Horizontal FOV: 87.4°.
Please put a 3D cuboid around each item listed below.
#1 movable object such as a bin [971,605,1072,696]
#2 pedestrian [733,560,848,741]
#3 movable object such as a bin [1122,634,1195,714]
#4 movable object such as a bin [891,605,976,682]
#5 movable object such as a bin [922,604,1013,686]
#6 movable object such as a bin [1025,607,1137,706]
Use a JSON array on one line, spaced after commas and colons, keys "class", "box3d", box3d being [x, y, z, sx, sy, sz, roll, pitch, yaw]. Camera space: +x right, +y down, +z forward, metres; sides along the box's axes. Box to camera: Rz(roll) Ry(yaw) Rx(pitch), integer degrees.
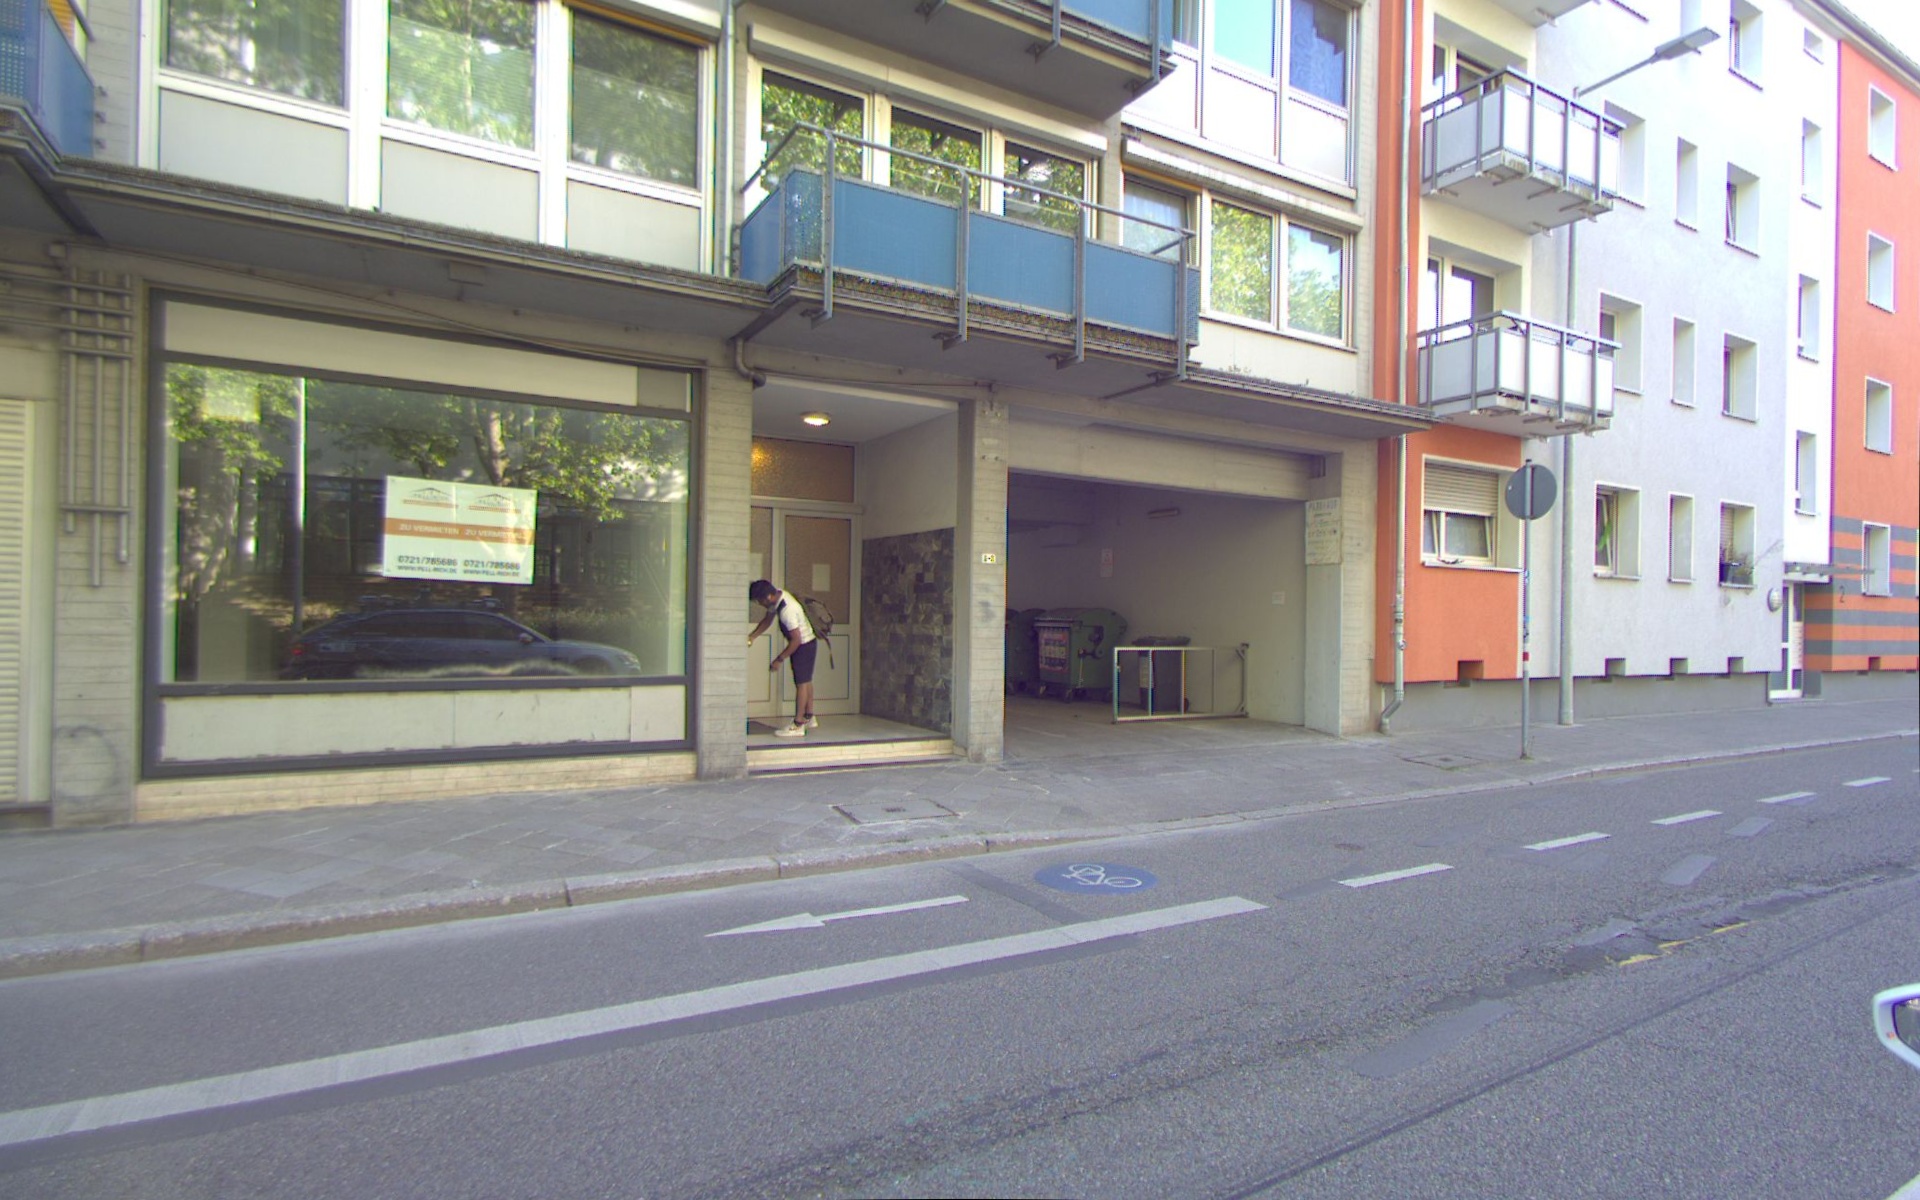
[{"class": "movable object such as a bin", "box3d": [1.045, 0.841, 17.202, 1.182, 1.452, 1.300, 2, 0, -30]}, {"class": "pedestrian", "box3d": [-1.585, 0.456, 9.385, 0.914, 1.606, 0.561, 1, 0, -29]}, {"class": "movable object such as a bin", "box3d": [2.863, 1.054, 14.533, 0.707, 1.089, 0.735, 2, 0, -30]}, {"class": "movable object such as a bin", "box3d": [-0.535, 0.850, 19.941, 1.182, 1.452, 1.300, 2, 0, -30]}, {"class": "movable object such as a bin", "box3d": [0.132, 0.820, 18.777, 1.182, 1.452, 1.300, 2, 0, -30]}, {"class": "movable object such as a bin", "box3d": [1.885, 0.860, 15.815, 1.182, 1.452, 1.300, 2, 0, -30]}]
